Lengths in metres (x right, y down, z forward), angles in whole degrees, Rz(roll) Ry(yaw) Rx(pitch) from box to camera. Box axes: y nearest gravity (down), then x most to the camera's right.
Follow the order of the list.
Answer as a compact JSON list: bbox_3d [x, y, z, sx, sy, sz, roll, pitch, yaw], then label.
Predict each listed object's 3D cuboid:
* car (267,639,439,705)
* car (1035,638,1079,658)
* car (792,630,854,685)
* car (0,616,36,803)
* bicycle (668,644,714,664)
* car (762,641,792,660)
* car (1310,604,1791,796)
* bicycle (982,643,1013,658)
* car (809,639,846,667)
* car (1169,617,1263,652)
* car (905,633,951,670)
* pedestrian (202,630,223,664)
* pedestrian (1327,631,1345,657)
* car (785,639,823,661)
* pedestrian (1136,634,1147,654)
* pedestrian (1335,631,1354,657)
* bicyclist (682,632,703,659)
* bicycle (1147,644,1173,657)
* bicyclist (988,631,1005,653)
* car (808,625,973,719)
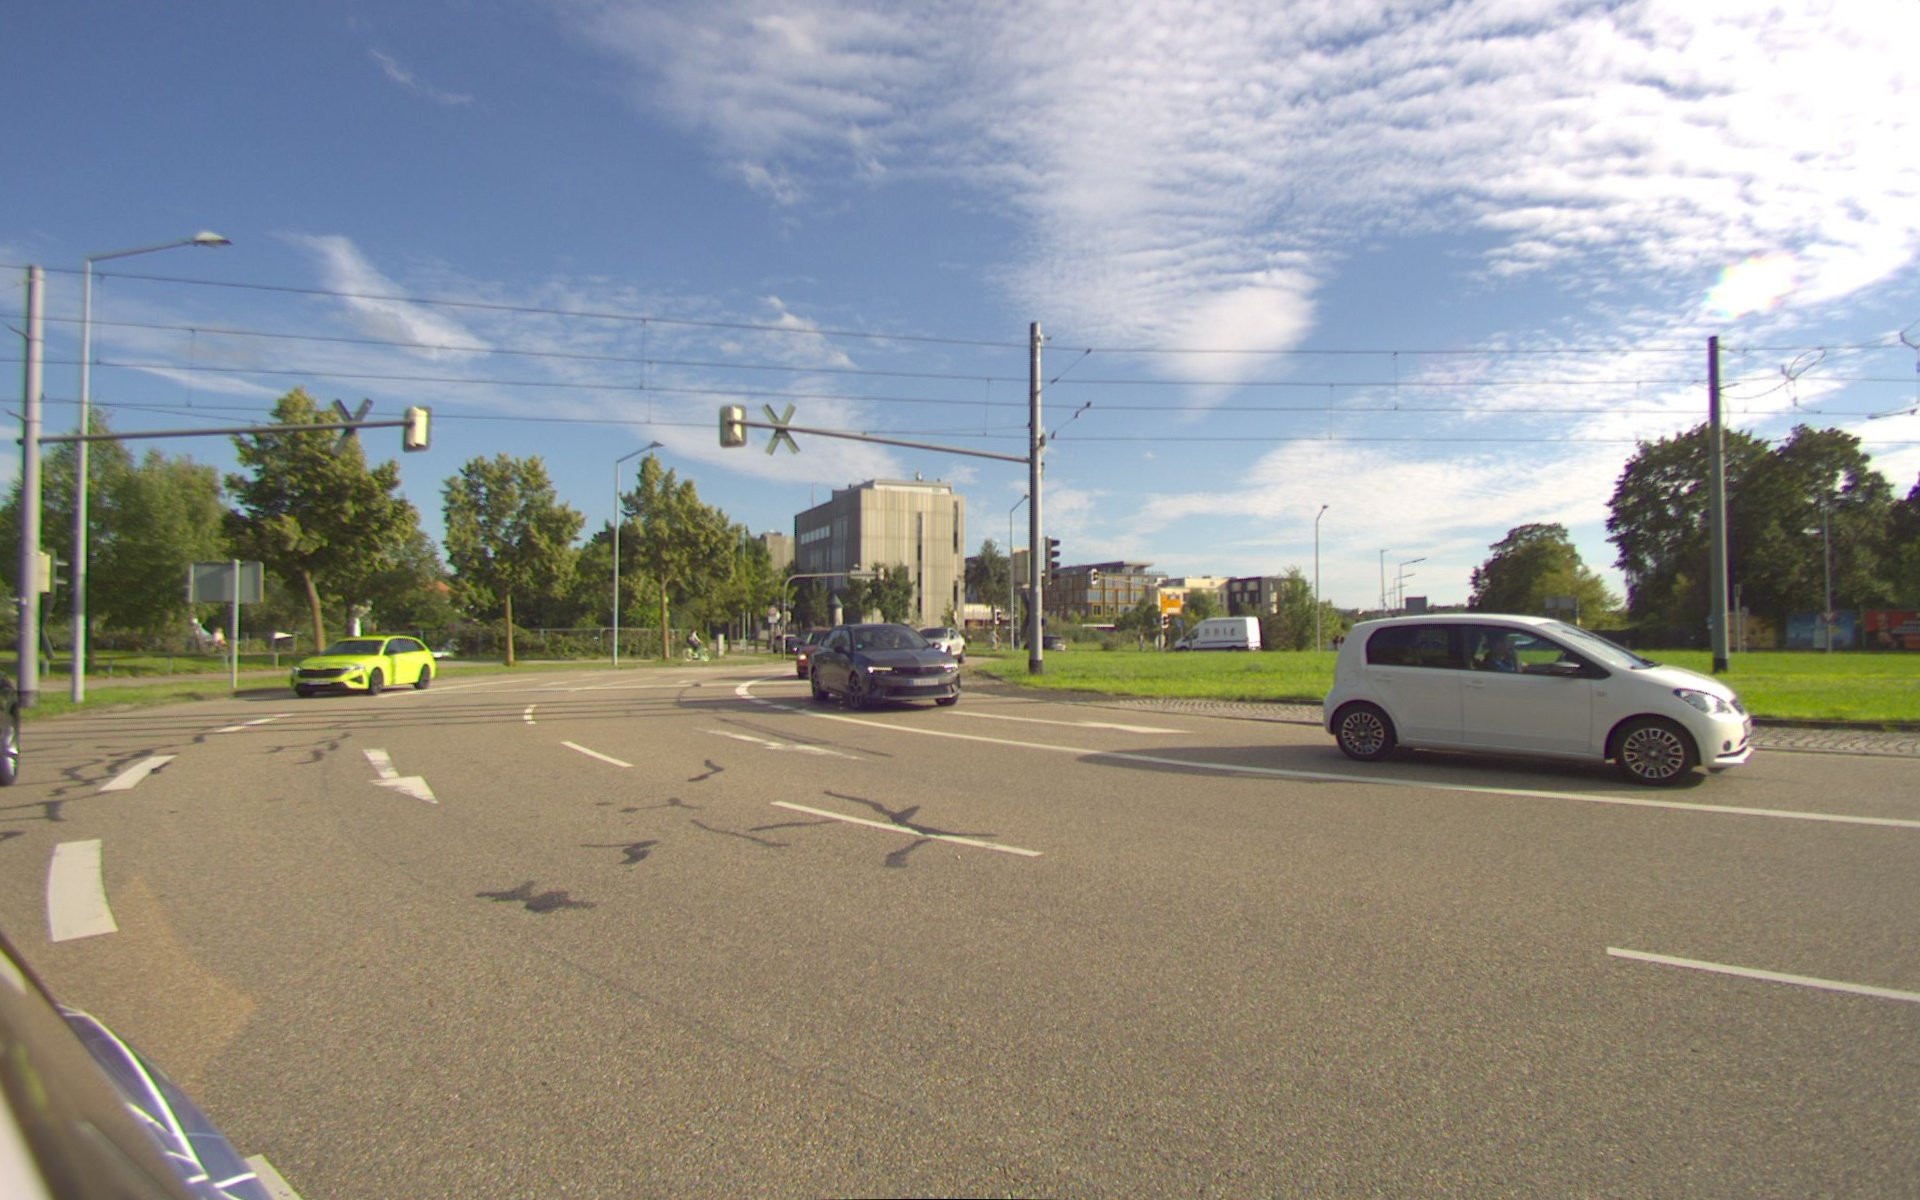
[{"bbox_3d":[-15.201,1.740,25.678,1.868,1.431,4.612,-1,-2,-4],"label":"car"},{"bbox_3d":[7.961,3.957,83.380,1.657,1.513,4.006,3,-4,-29],"label":"car"},{"bbox_3d":[-4.038,1.683,30.244,1.669,1.486,4.232,-1,-2,-6],"label":"car"},{"bbox_3d":[-8.874,0.952,7.736,1.841,1.708,5.028,1,-2,-33],"label":"car"},{"bbox_3d":[-15.559,3.120,58.575,0.804,1.134,2.565,-2,-3,41],"label":"bicycle"},{"bbox_3d":[-16.941,4.616,93.439,1.965,1.674,4.818,0,-2,-19],"label":"car"},{"bbox_3d":[5.505,0.829,9.707,3.661,1.475,1.742,-2,-2,44],"label":"car"},{"bbox_3d":[2.663,3.592,72.073,1.927,1.015,1.005,1,-2,-20],"label":"bicycle"},{"bbox_3d":[-8.708,3.437,66.264,1.967,1.674,4.815,0,-2,-13],"label":"car"},{"bbox_3d":[17.537,2.398,69.529,6.020,2.281,2.038,-2,-5,41],"label":"car"},{"bbox_3d":[-1.342,2.211,43.384,1.672,1.486,4.223,-1,-3,2],"label":"car"},{"bbox_3d":[-38.946,2.451,52.729,0.589,1.745,0.667,0,-2,0],"label":"pedestrian"},{"bbox_3d":[28.599,3.330,77.059,0.882,1.931,0.868,-2,-1,-11],"label":"pedestrian"},{"bbox_3d":[-12.160,3.860,78.756,1.965,1.674,4.818,1,-2,-21],"label":"car"},{"bbox_3d":[15.364,3.714,85.613,0.618,1.642,0.660,-1,-2,-23],"label":"pedestrian"},{"bbox_3d":[28.962,3.300,76.230,0.882,1.931,0.868,-2,-1,-11],"label":"pedestrian"},{"bbox_3d":[-15.506,2.643,58.634,0.804,1.559,0.892,-2,-3,42],"label":"bicyclist"},{"bbox_3d":[15.206,3.828,76.980,1.808,0.996,0.612,0,-2,-10],"label":"bicycle"},{"bbox_3d":[2.616,3.010,72.078,0.851,1.568,1.001,1,-2,-20],"label":"bicyclist"},{"bbox_3d":[-1.392,1.200,18.161,1.793,1.431,4.461,-1,-2,-19],"label":"car"}]
